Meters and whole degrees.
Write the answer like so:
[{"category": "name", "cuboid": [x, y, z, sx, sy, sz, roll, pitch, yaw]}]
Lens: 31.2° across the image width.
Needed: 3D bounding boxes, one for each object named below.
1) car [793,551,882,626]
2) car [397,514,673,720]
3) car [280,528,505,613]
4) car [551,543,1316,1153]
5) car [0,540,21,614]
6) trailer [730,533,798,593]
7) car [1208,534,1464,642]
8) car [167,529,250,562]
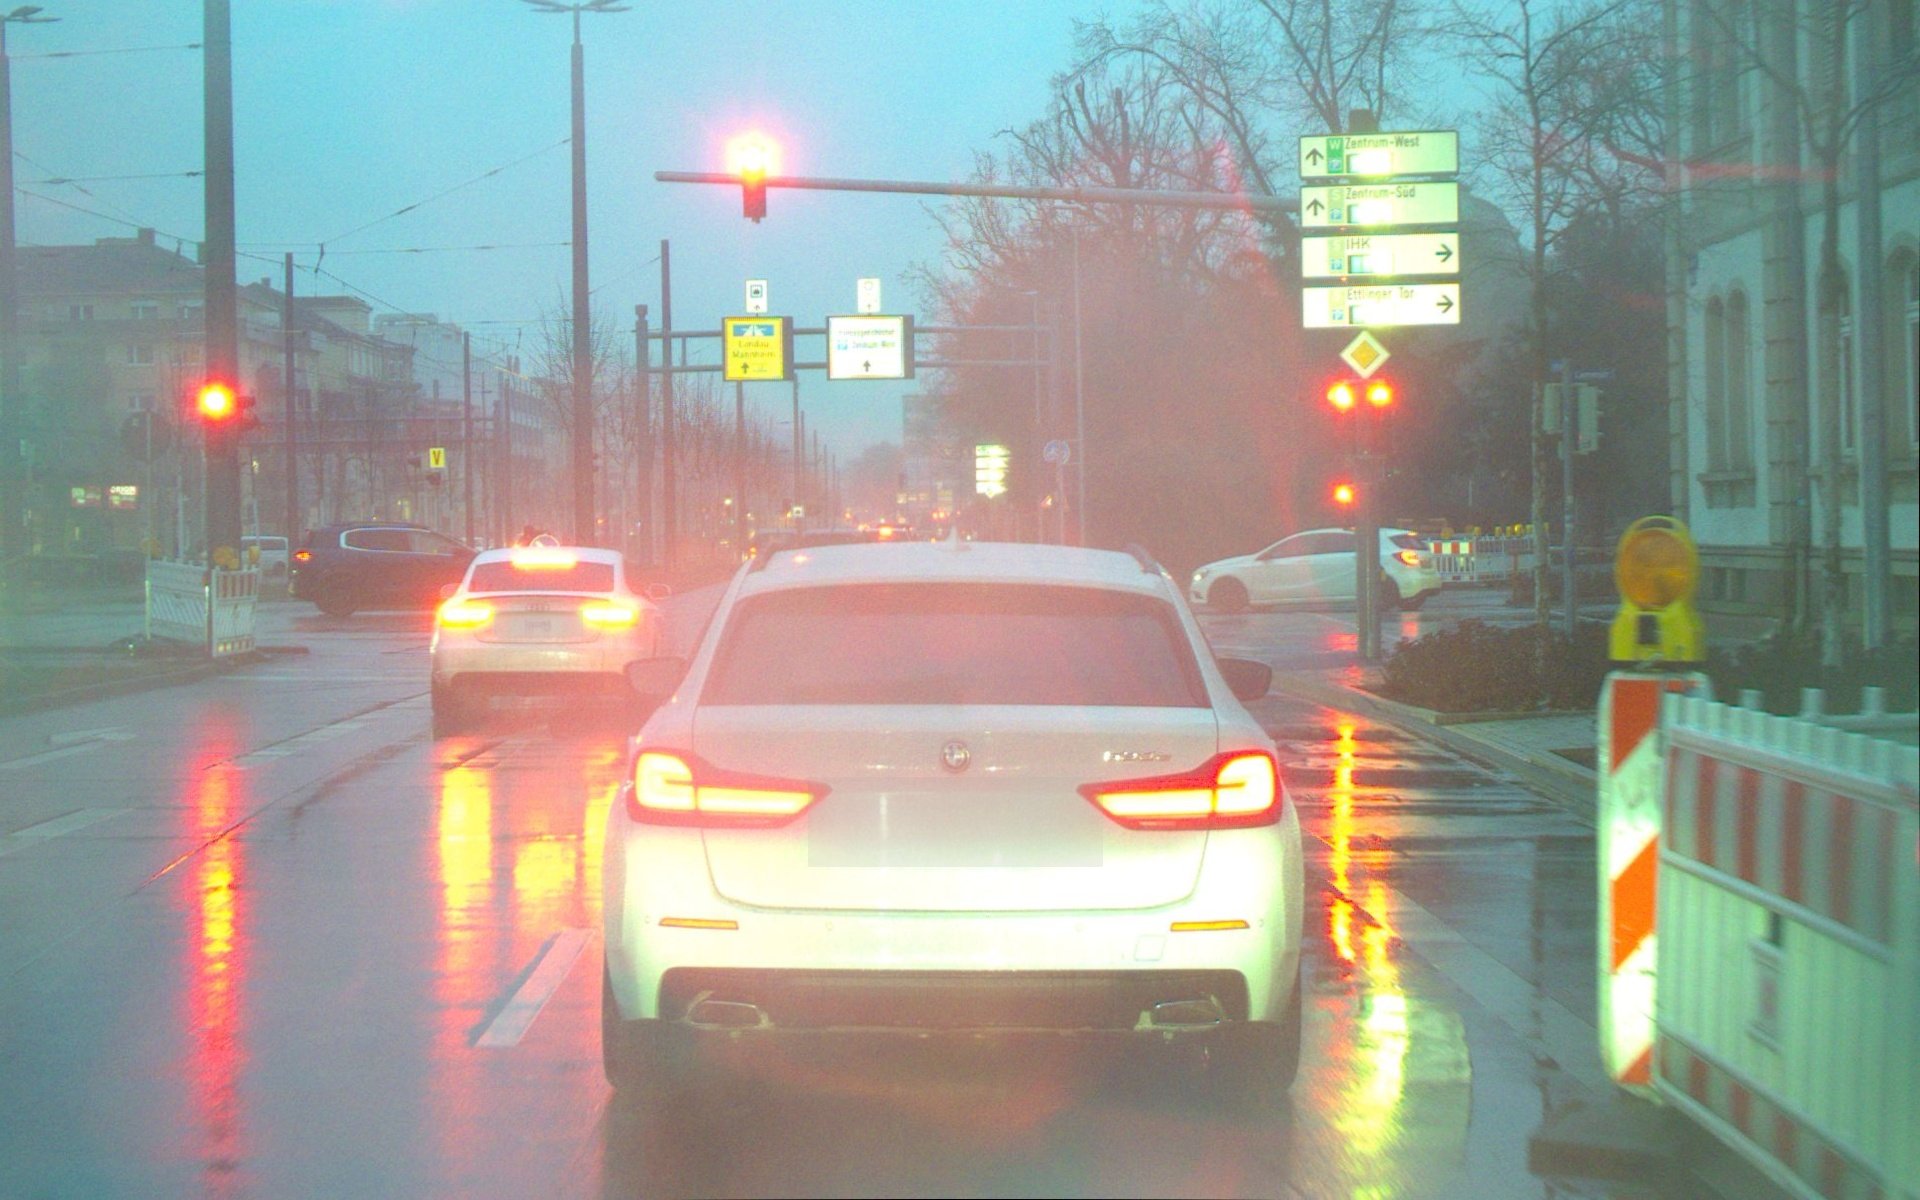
[{"category": "car", "cuboid": [-2.753, -0.286, 77.963, 1.901, 1.636, 4.000, 0, 1, -1]}, {"category": "car", "cuboid": [-3.546, 0.099, 29.356, 1.901, 1.636, 4.000, 0, 1, -1]}, {"category": "car", "cuboid": [-10.256, -0.547, 61.994, 3.941, 1.502, 1.853, 0, 1, -11]}, {"category": "car", "cuboid": [-0.120, 0.560, 10.814, 1.852, 1.460, 4.947, 0, 1, -1]}, {"category": "car", "cuboid": [-22.398, -0.547, 78.363, 1.559, 1.653, 3.396, 0, 1, -9]}, {"category": "trailer", "cuboid": [-5.441, -1.046, 95.579, 1.834, 1.637, 4.001, 0, 1, -3]}, {"category": "car", "cuboid": [6.410, -0.222, 58.568, 3.991, 1.791, 1.849, 0, 1, 21]}, {"category": "car", "cuboid": [-40.588, -2.934, 185.819, 4.212, 1.739, 1.840, -1, 1, -7]}]
